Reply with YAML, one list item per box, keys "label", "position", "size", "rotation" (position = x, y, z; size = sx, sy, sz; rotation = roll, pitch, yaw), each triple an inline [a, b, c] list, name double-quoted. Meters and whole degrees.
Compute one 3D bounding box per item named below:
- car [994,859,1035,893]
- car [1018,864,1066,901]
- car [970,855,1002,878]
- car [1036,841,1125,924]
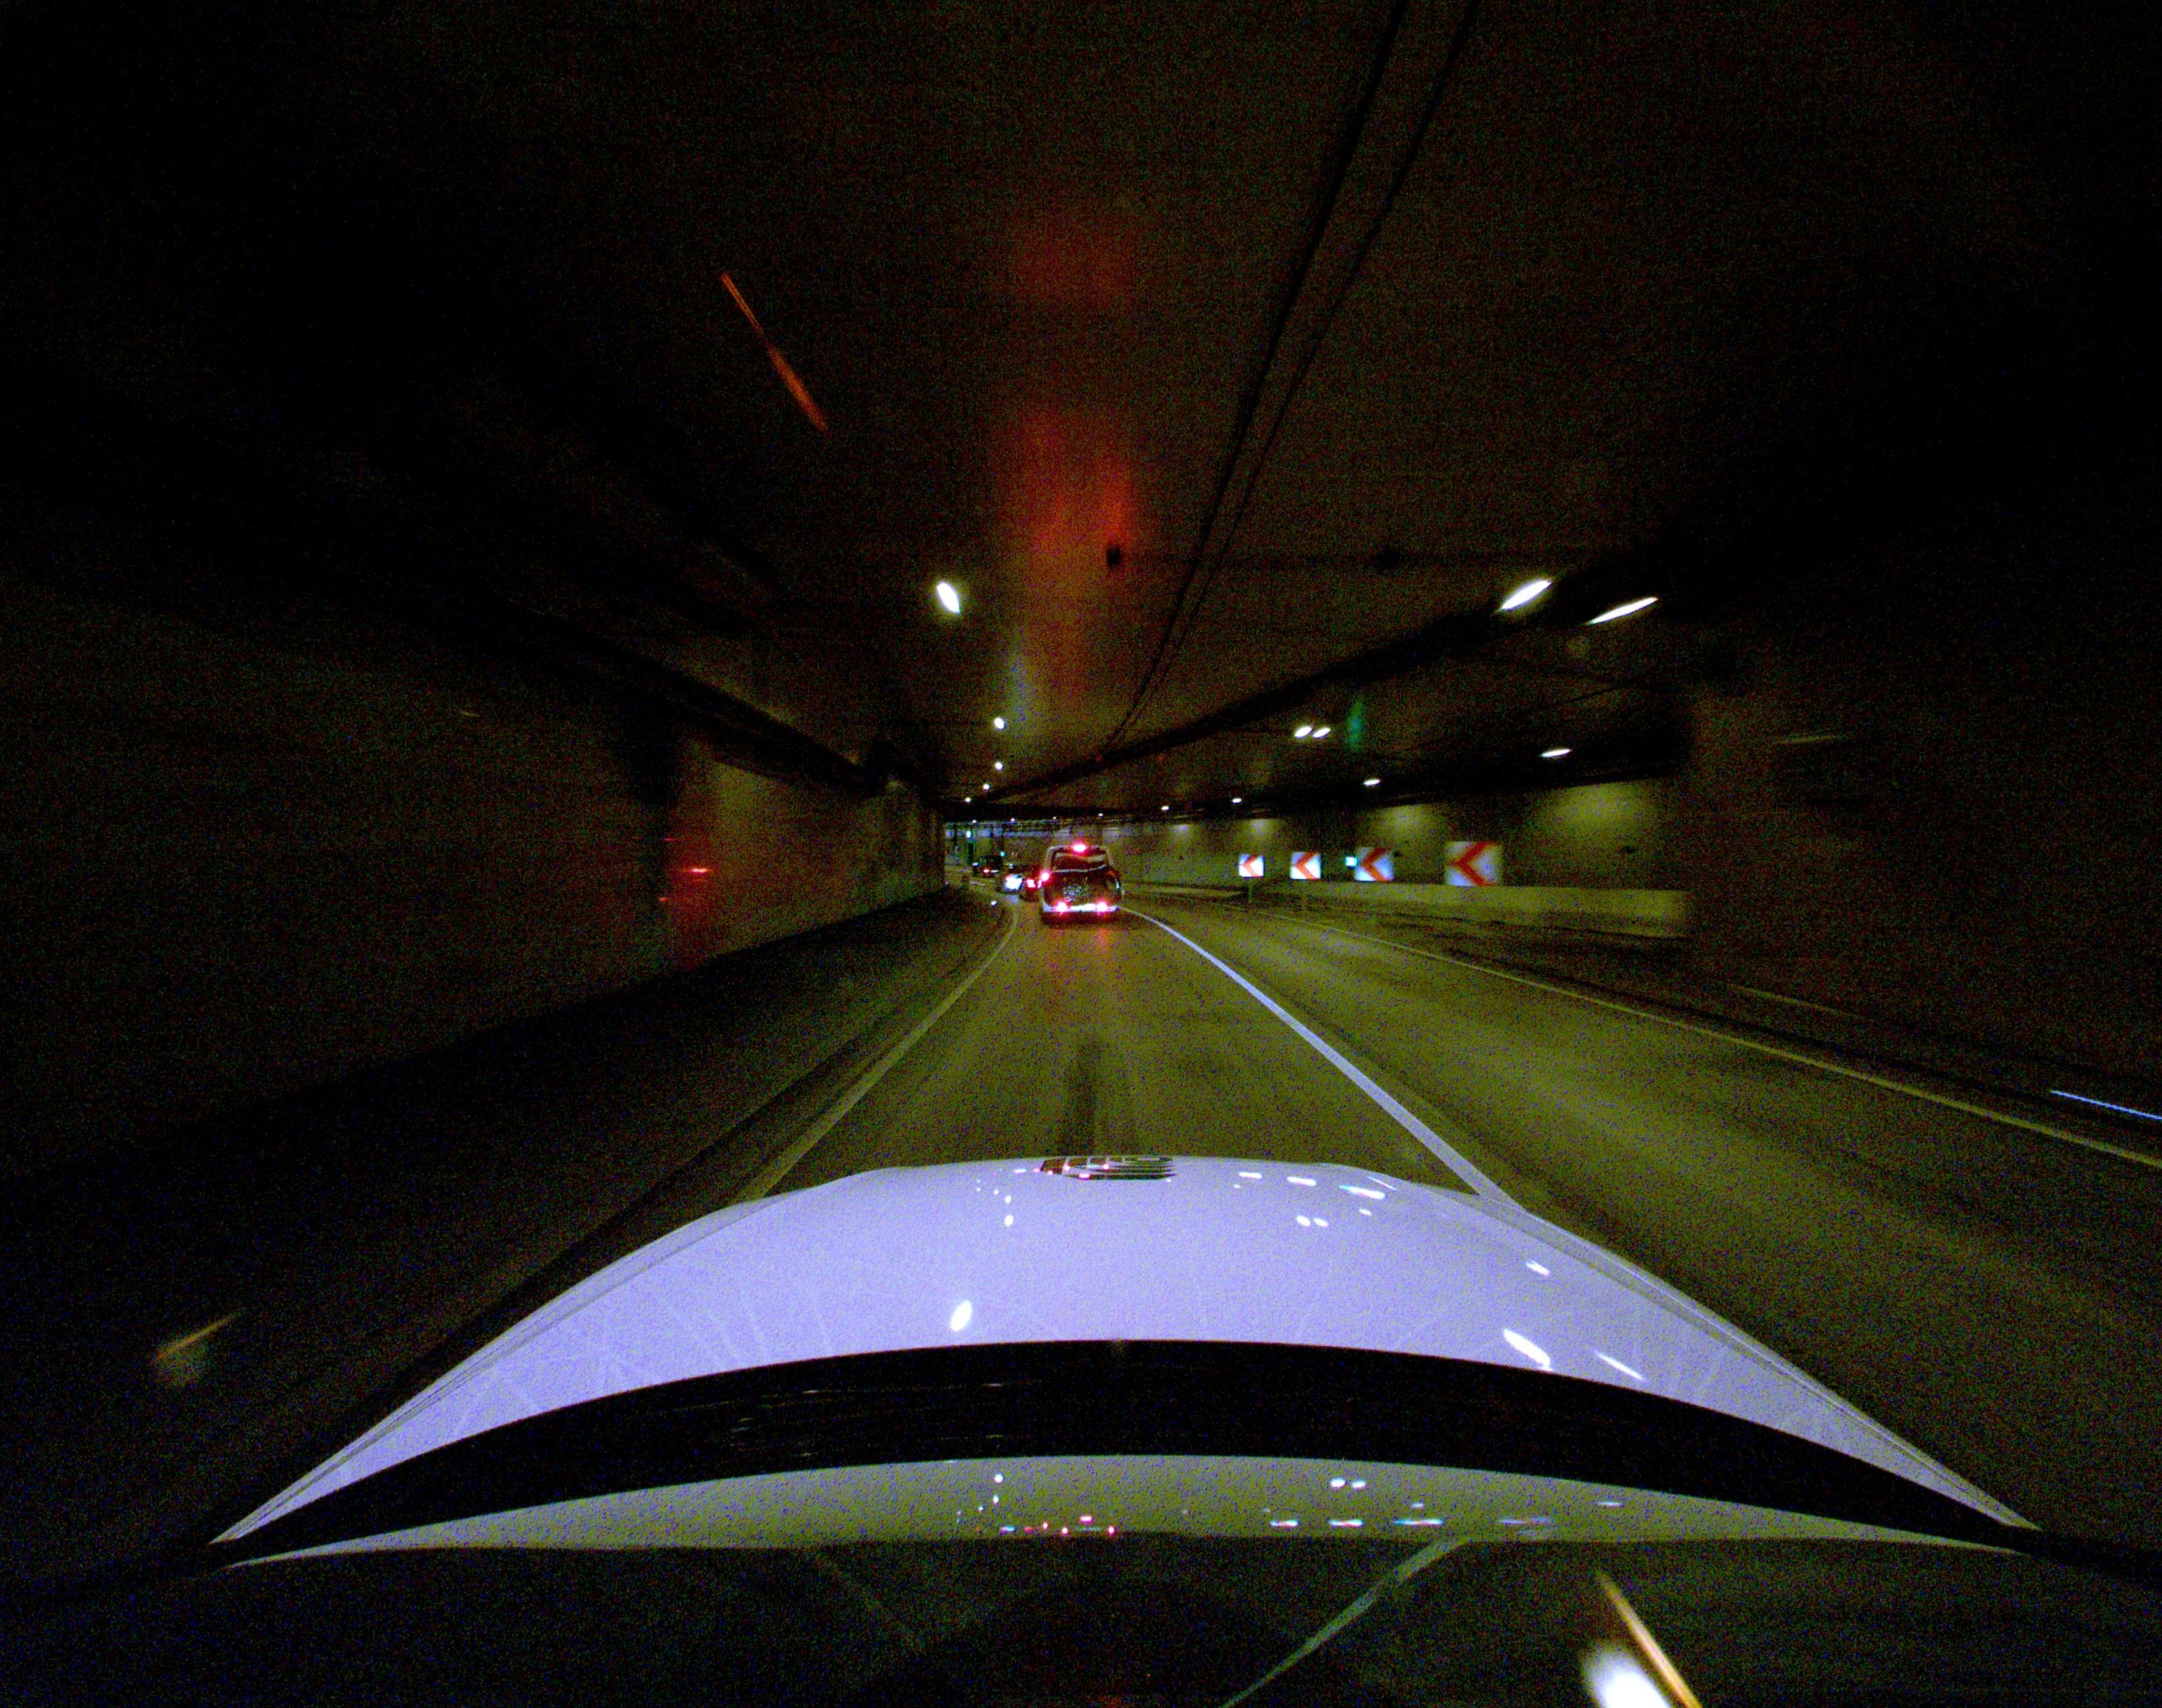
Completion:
- label: "car"
  position: [-3.364, 1.109, 40.765]
  size: [1.603, 1.594, 3.342]
  rotation: [2, -2, -11]
- label: "car"
  position: [-1.620, 1.113, 32.772]
  size: [1.602, 1.395, 3.267]
  rotation: [0, -1, -8]
- label: "car"
  position: [-7.290, 0.954, 62.483]
  size: [1.609, 1.630, 3.332]
  rotation: [-2, 0, -21]
- label: "car"
  position: [-0.132, 0.677, 20.790]
  size: [1.989, 1.847, 5.295]
  rotation: [0, -1, -3]
